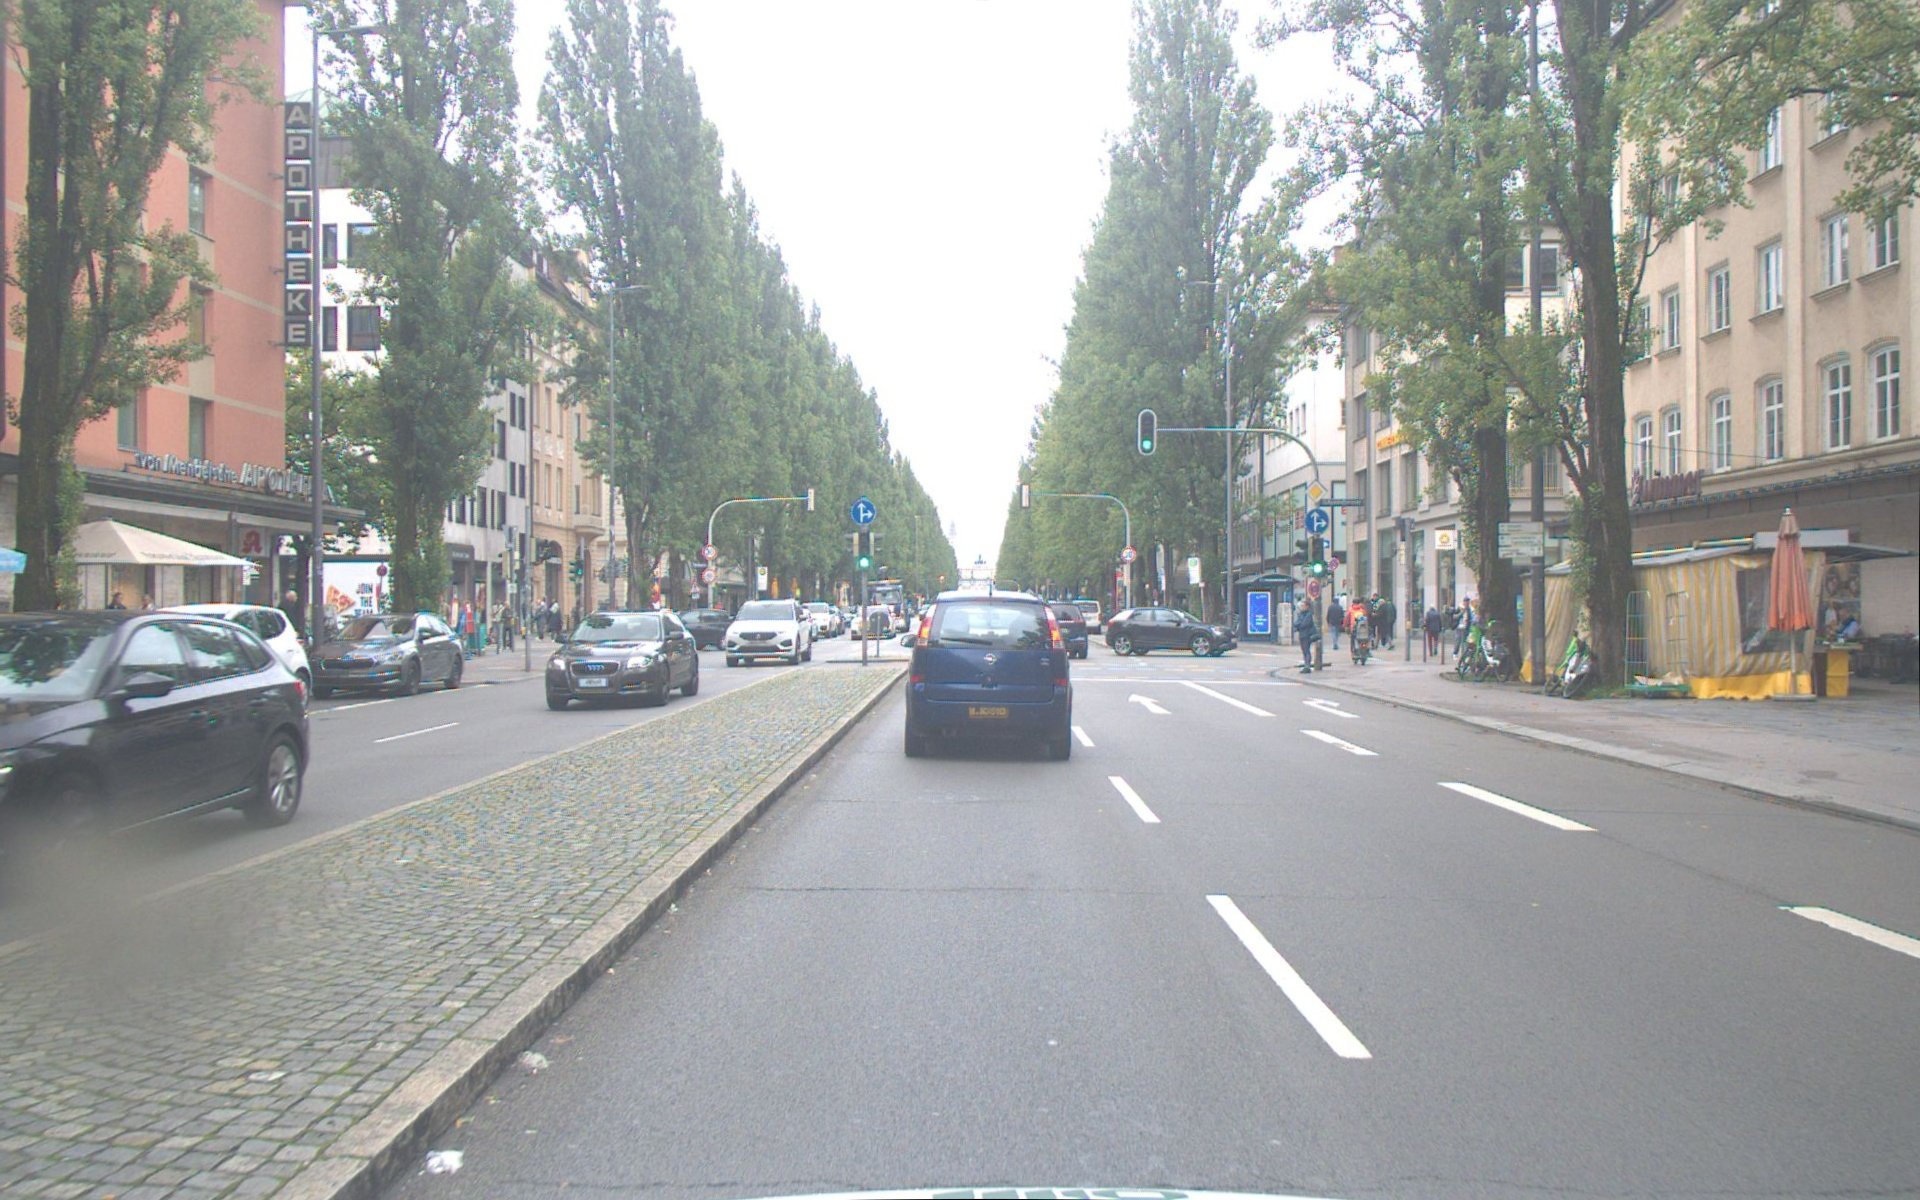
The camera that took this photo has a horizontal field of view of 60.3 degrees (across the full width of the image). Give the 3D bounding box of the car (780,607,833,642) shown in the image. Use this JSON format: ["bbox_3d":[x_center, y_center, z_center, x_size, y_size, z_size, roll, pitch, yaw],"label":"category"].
[{"bbox_3d":[-6.576,1.033,71.352,1.785,1.432,4.632,-1,0,0],"label":"car"}]

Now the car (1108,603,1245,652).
[{"bbox_3d":[6.790,0.851,51.904,3.910,1.487,1.757,0,0,28],"label":"car"}]

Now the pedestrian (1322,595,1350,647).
[{"bbox_3d":[13.503,0.760,59.466,0.801,1.850,0.890,0,0,-1],"label":"pedestrian"}]

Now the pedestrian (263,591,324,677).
[{"bbox_3d":[-14.575,0.734,36.176,0.720,1.827,0.993,1,-1,19],"label":"pedestrian"}]

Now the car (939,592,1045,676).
[{"bbox_3d":[0.585,0.628,32.426,1.953,1.524,4.000,0,0,0],"label":"car"}]

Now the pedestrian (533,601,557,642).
[{"bbox_3d":[-17.569,0.901,70.090,0.717,1.711,0.977,1,0,1],"label":"pedestrian"}]

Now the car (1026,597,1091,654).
[{"bbox_3d":[2.856,0.740,48.679,1.671,1.601,4.000,0,0,0],"label":"car"}]

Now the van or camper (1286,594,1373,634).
[{"bbox_3d":[18.576,0.705,83.193,4.018,1.899,1.899,1,-1,4],"label":"van or camper"}]

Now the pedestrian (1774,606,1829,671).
[{"bbox_3d":[16.993,0.774,33.407,0.759,1.286,0.699,0,0,1],"label":"pedestrian"}]

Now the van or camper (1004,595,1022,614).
[{"bbox_3d":[7.456,0.682,232.767,2.425,2.626,5.845,0,0,1],"label":"van or camper"}]

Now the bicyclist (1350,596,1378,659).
[{"bbox_3d":[10.472,0.704,42.875,0.608,1.616,0.391,0,-1,0],"label":"bicyclist"}]

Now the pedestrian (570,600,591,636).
[{"bbox_3d":[-17.843,0.849,77.856,0.762,1.647,0.934,0,0,0],"label":"pedestrian"}]

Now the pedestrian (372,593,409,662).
[{"bbox_3d":[-15.154,0.723,44.024,0.709,1.802,0.778,0,0,2],"label":"pedestrian"}]

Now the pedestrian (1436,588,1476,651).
[{"bbox_3d":[13.753,0.547,45.881,0.662,1.732,0.846,2,-3,-45],"label":"pedestrian"}]

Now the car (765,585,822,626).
[{"bbox_3d":[-6.209,0.207,62.001,1.701,1.462,3.823,-1,0,1],"label":"car"}]

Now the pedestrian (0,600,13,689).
[{"bbox_3d":[-18.688,0.846,31.549,0.764,1.697,0.802,0,0,0],"label":"pedestrian"}]

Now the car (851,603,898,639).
[{"bbox_3d":[-3.831,0.932,75.061,1.806,1.528,4.986,-1,0,0],"label":"car"}]

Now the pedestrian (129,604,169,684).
[{"bbox_3d":[-18.005,0.961,36.717,0.543,1.748,0.692,0,0,0],"label":"pedestrian"}]

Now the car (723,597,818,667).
[{"bbox_3d":[-4.868,0.787,43.047,1.805,1.664,4.576,-2,0,1],"label":"car"}]

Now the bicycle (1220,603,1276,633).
[{"bbox_3d":[12.315,0.756,70.859,2.295,1.274,0.633,0,0,0],"label":"bicycle"}]

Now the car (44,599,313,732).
[{"bbox_3d":[-10.496,0.832,22.563,1.668,1.611,4.096,-1,-1,1],"label":"car"}]

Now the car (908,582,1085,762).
[{"bbox_3d":[0.337,0.678,17.565,1.647,1.670,4.000,1,0,0],"label":"car"}]

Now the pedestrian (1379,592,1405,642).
[{"bbox_3d":[15.710,0.605,60.218,0.734,1.789,0.859,0,0,2],"label":"pedestrian"}]

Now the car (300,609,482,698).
[{"bbox_3d":[-10.312,0.931,30.338,1.668,1.463,4.590,-1,-1,1],"label":"car"}]

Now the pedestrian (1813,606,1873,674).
[{"bbox_3d":[16.879,0.750,31.628,0.759,1.286,0.699,0,0,1],"label":"pedestrian"}]

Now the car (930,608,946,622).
[{"bbox_3d":[-2.787,1.838,208.518,1.895,1.652,4.336,-2,0,0],"label":"car"}]

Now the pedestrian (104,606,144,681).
[{"bbox_3d":[-18.676,0.961,36.941,0.543,1.667,0.692,0,0,0],"label":"pedestrian"}]

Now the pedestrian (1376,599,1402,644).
[{"bbox_3d":[16.253,0.816,62.697,0.734,1.706,0.963,0,0,2],"label":"pedestrian"}]

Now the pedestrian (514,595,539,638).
[{"bbox_3d":[-18.349,0.690,70.026,0.783,1.819,0.912,1,0,1],"label":"pedestrian"}]

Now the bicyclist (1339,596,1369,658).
[{"bbox_3d":[10.470,0.716,44.003,0.608,1.616,0.753,0,-1,0],"label":"bicyclist"}]

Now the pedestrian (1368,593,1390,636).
[{"bbox_3d":[17.575,0.623,69.387,0.734,1.789,0.711,0,-1,2],"label":"pedestrian"}]

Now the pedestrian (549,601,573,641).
[{"bbox_3d":[-16.285,0.859,67.575,0.735,1.594,0.989,0,0,-1],"label":"pedestrian"}]

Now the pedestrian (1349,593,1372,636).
[{"bbox_3d":[16.787,0.590,69.273,0.734,1.789,1.017,0,0,2],"label":"pedestrian"}]

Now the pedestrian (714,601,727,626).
[{"bbox_3d":[-16.365,0.909,113.092,0.719,1.702,0.952,0,0,0],"label":"pedestrian"}]

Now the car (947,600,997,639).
[{"bbox_3d":[0.485,0.775,66.935,1.953,1.524,4.000,0,0,0],"label":"car"}]

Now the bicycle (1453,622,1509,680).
[{"bbox_3d":[10.024,0.968,31.876,0.498,1.066,1.770,1,-1,-1],"label":"bicycle"}]

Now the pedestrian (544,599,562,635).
[{"bbox_3d":[-20.463,0.848,83.190,0.684,1.819,0.820,0,0,2],"label":"pedestrian"}]

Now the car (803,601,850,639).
[{"bbox_3d":[-6.472,0.951,80.801,1.799,1.746,4.636,-1,0,1],"label":"car"}]

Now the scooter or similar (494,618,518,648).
[{"bbox_3d":[-17.175,1.244,62.547,0.797,1.112,0.274,1,-1,-4],"label":"scooter or similar"}]

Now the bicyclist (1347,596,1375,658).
[{"bbox_3d":[10.469,0.708,43.222,0.608,1.616,0.481,0,-1,0],"label":"bicyclist"}]

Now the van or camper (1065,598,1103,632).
[{"bbox_3d":[7.184,0.861,96.097,1.830,1.916,4.903,0,0,0],"label":"van or camper"}]

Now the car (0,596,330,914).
[{"bbox_3d":[-5.380,0.776,9.778,1.721,1.491,4.050,-2,-1,0],"label":"car"}]

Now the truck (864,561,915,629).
[{"bbox_3d":[-3.969,-0.279,94.762,2.412,3.734,8.440,0,0,1],"label":"truck"}]

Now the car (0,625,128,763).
[{"bbox_3d":[-10.566,0.989,17.401,1.463,1.406,4.186,-1,-1,1],"label":"car"}]

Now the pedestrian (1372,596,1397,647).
[{"bbox_3d":[14.981,0.740,58.437,0.694,1.789,0.752,0,0,2],"label":"pedestrian"}]

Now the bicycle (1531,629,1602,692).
[{"bbox_3d":[10.103,0.993,27.603,0.498,0.992,1.770,1,-1,-1],"label":"bicycle"}]

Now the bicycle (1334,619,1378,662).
[{"bbox_3d":[10.472,1.062,43.810,0.614,1.106,2.263,0,0,0],"label":"bicycle"}]

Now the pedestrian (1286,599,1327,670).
[{"bbox_3d":[8.056,0.793,38.476,0.750,1.638,0.864,0,0,-3],"label":"pedestrian"}]

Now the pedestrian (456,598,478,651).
[{"bbox_3d":[-16.189,0.789,54.320,0.574,1.720,0.514,0,0,1],"label":"pedestrian"}]

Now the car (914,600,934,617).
[{"bbox_3d":[-3.756,0.909,173.751,1.874,1.710,4.586,0,0,0],"label":"car"}]

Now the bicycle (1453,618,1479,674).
[{"bbox_3d":[10.386,0.942,34.003,0.396,1.088,1.812,5,0,16],"label":"bicycle"}]

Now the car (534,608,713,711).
[{"bbox_3d":[-5.067,0.850,25.484,1.798,1.385,4.176,-2,0,1],"label":"car"}]

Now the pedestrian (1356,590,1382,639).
[{"bbox_3d":[14.935,0.532,60.391,0.734,1.789,0.859,0,-2,2],"label":"pedestrian"}]

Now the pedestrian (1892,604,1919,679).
[{"bbox_3d":[16.801,0.721,28.792,0.759,1.286,0.699,0,0,1],"label":"pedestrian"}]

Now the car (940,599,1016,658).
[{"bbox_3d":[0.459,0.741,44.948,1.953,1.524,4.000,0,0,0],"label":"car"}]

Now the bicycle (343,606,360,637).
[{"bbox_3d":[-23.942,0.840,65.126,0.442,1.205,2.055,0,0,-15],"label":"bicycle"}]

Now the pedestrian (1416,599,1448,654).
[{"bbox_3d":[14.593,0.836,51.136,0.734,1.665,0.734,-2,-2,3],"label":"pedestrian"}]

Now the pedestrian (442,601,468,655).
[{"bbox_3d":[-16.390,0.910,53.680,0.616,1.718,0.519,1,-1,2],"label":"pedestrian"}]
